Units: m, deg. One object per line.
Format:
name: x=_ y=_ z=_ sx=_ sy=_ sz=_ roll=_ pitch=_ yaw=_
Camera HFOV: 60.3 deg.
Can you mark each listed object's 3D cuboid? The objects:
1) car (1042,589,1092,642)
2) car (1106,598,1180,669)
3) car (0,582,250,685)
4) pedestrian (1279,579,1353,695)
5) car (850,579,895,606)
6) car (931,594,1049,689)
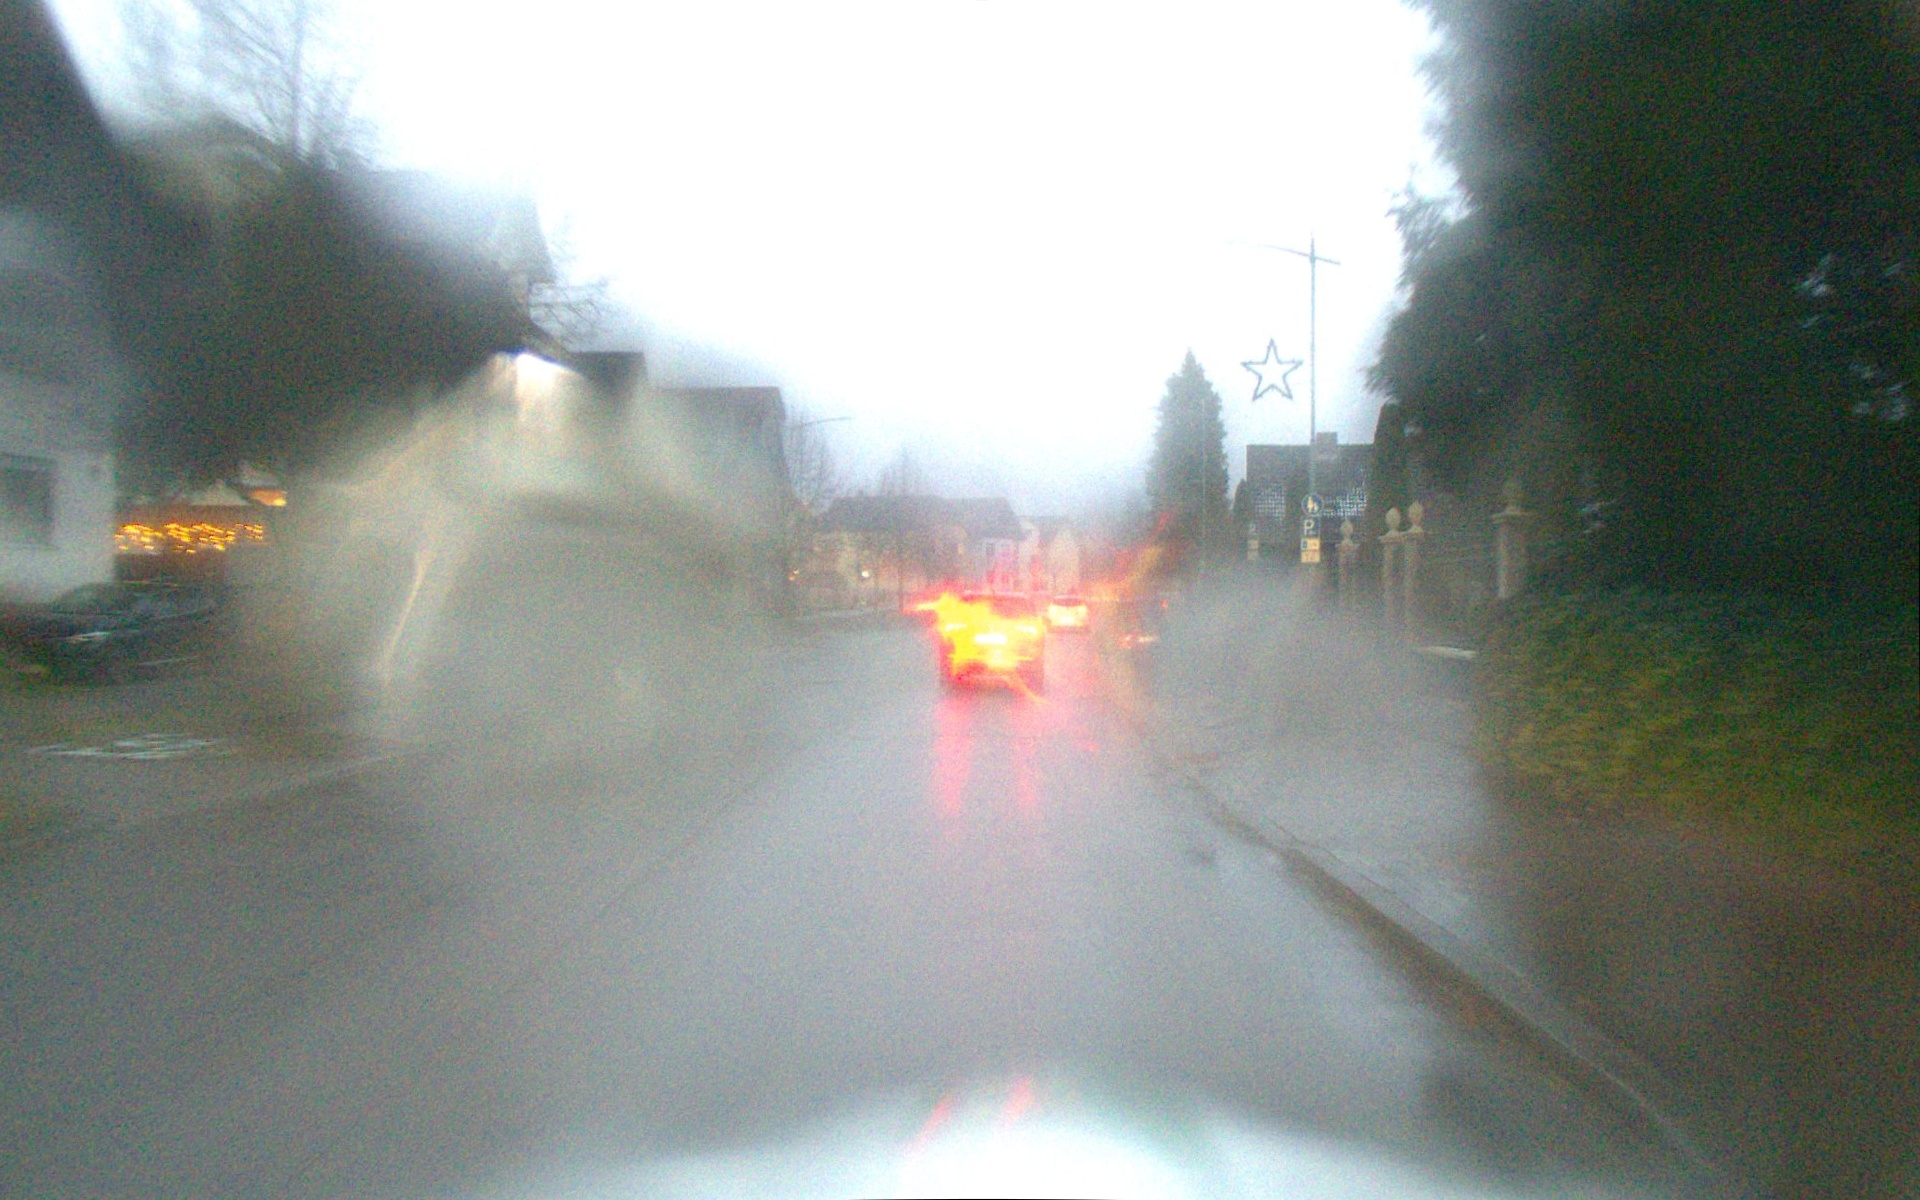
car: x=4.319 y=0.619 z=67.413 sx=1.952 sy=2.049 sz=4.001 roll=1 pitch=0 yaw=3
car: x=4.259 y=0.756 z=38.846 sx=1.614 sy=1.567 sz=3.392 roll=1 pitch=0 yaw=5
car: x=-12.507 y=0.476 z=24.754 sx=1.744 sy=1.390 sz=4.002 roll=1 pitch=0 yaw=5
pedestrian: x=5.647 y=0.579 z=26.312 sx=0.966 sy=1.772 sz=1.056 roll=-2 pitch=0 yaw=4
car: x=-6.951 y=-0.626 z=131.521 sx=1.953 sy=2.048 sz=3.999 roll=2 pitch=1 yaw=23
car: x=0.535 y=0.687 z=29.532 sx=1.952 sy=1.552 sz=4.000 roll=1 pitch=0 yaw=1
